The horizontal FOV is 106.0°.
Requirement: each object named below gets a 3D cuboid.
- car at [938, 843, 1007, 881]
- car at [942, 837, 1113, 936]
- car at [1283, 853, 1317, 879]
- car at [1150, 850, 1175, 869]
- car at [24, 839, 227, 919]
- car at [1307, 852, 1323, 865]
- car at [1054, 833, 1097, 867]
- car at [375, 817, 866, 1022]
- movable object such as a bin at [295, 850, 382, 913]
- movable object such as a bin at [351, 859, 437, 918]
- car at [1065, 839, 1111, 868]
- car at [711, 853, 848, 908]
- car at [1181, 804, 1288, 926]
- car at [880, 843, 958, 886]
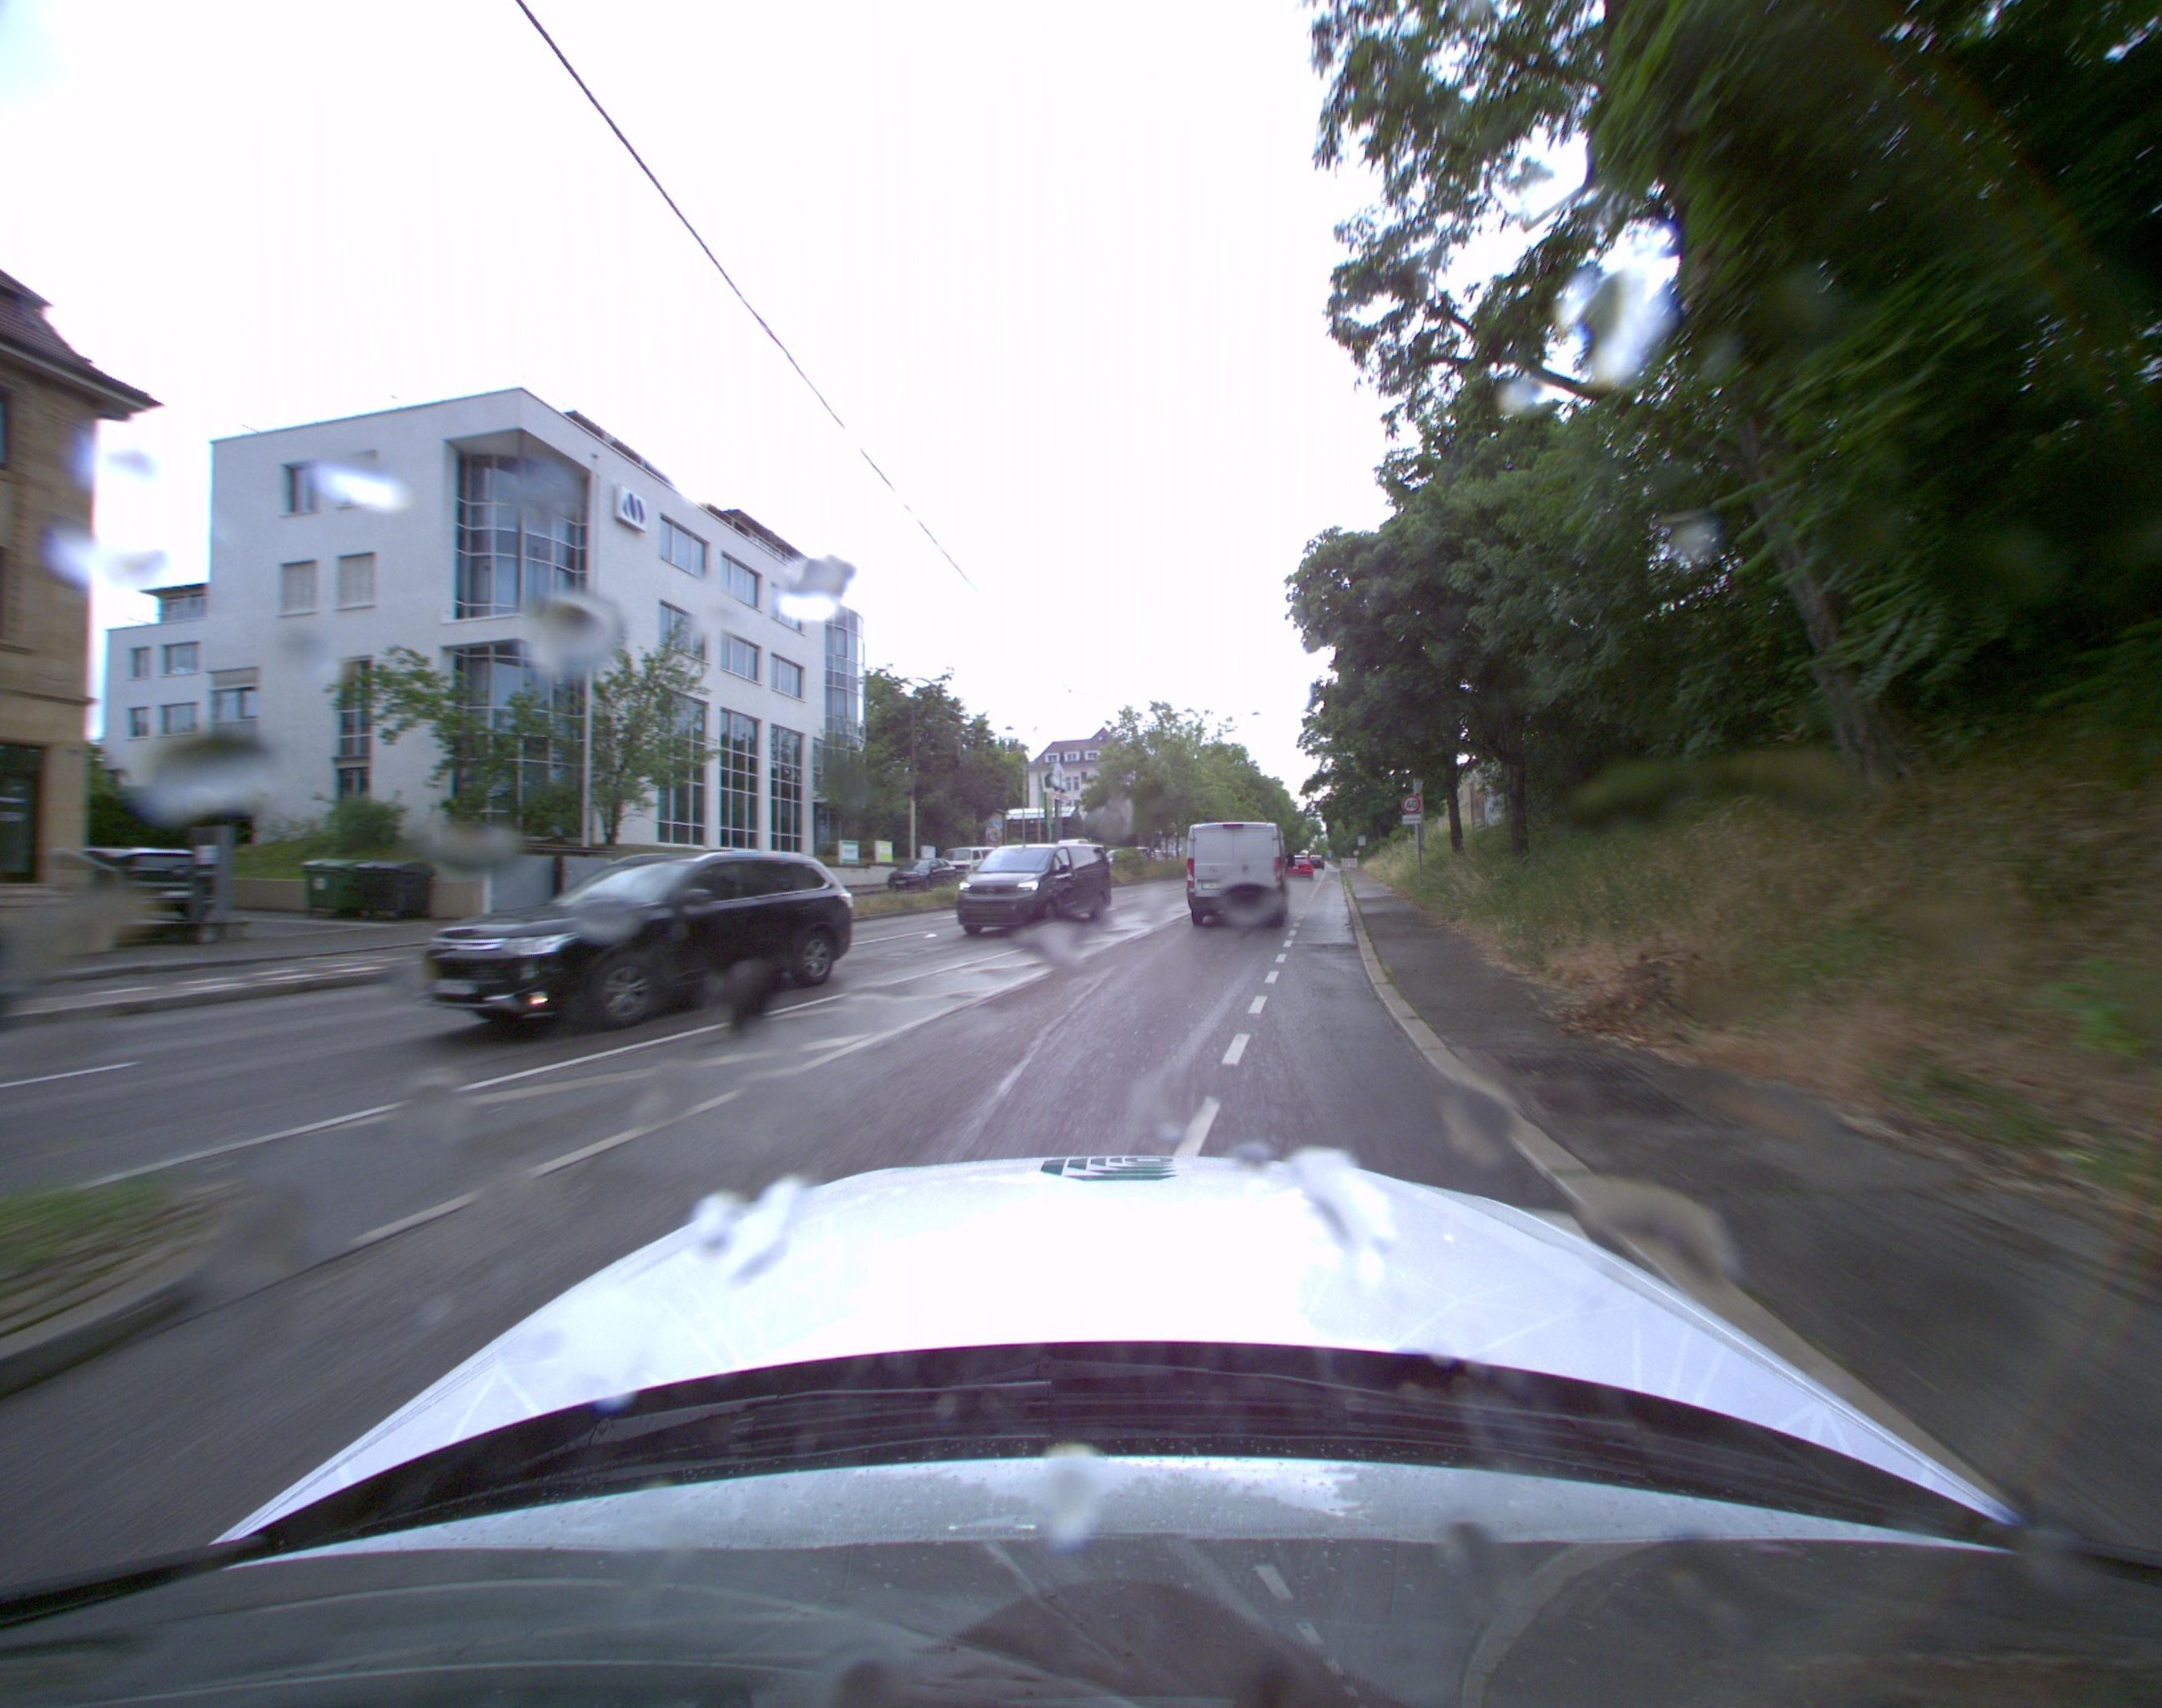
[{"bbox_3d":[-5.479,0.364,41.609,1.757,1.746,4.603,-2,0,16],"label":"car"},{"bbox_3d":[-0.972,0.651,18.157,1.998,1.867,5.065,-2,-1,18],"label":"car"},{"bbox_3d":[12.457,0.716,46.313,1.680,1.426,3.383,0,-2,18],"label":"car"},{"bbox_3d":[6.672,0.465,66.096,1.350,1.395,3.722,-2,-3,16],"label":"car"},{"bbox_3d":[-21.587,0.593,18.457,3.021,1.676,1.721,-2,-3,13],"label":"car"},{"bbox_3d":[22.882,0.456,79.595,1.333,1.139,2.300,-2,-3,18],"label":"car"},{"bbox_3d":[-0.367,-0.300,62.829,1.949,2.443,5.676,-2,0,13],"label":"car"},{"bbox_3d":[-4.409,0.620,8.887,1.675,1.605,4.749,-2,-3,18],"label":"car"},{"bbox_3d":[-18.672,0.692,20.505,1.236,1.541,1.044,-1,-2,12],"label":"movable object such as a bin"},{"bbox_3d":[-16.871,0.823,20.023,1.178,1.406,1.102,0,0,13],"label":"movable object such as a bin"},{"bbox_3d":[0.448,-0.058,47.060,1.580,1.540,4.009,-2,0,16],"label":"car"},{"bbox_3d":[-9.582,0.790,26.383,1.675,1.534,4.691,-2,0,16],"label":"car"},{"bbox_3d":[3.808,0.221,19.474,2.034,2.516,4.964,0,0,16],"label":"car"},{"bbox_3d":[-6.904,0.403,35.126,1.598,1.721,4.010,-2,0,15],"label":"car"}]
